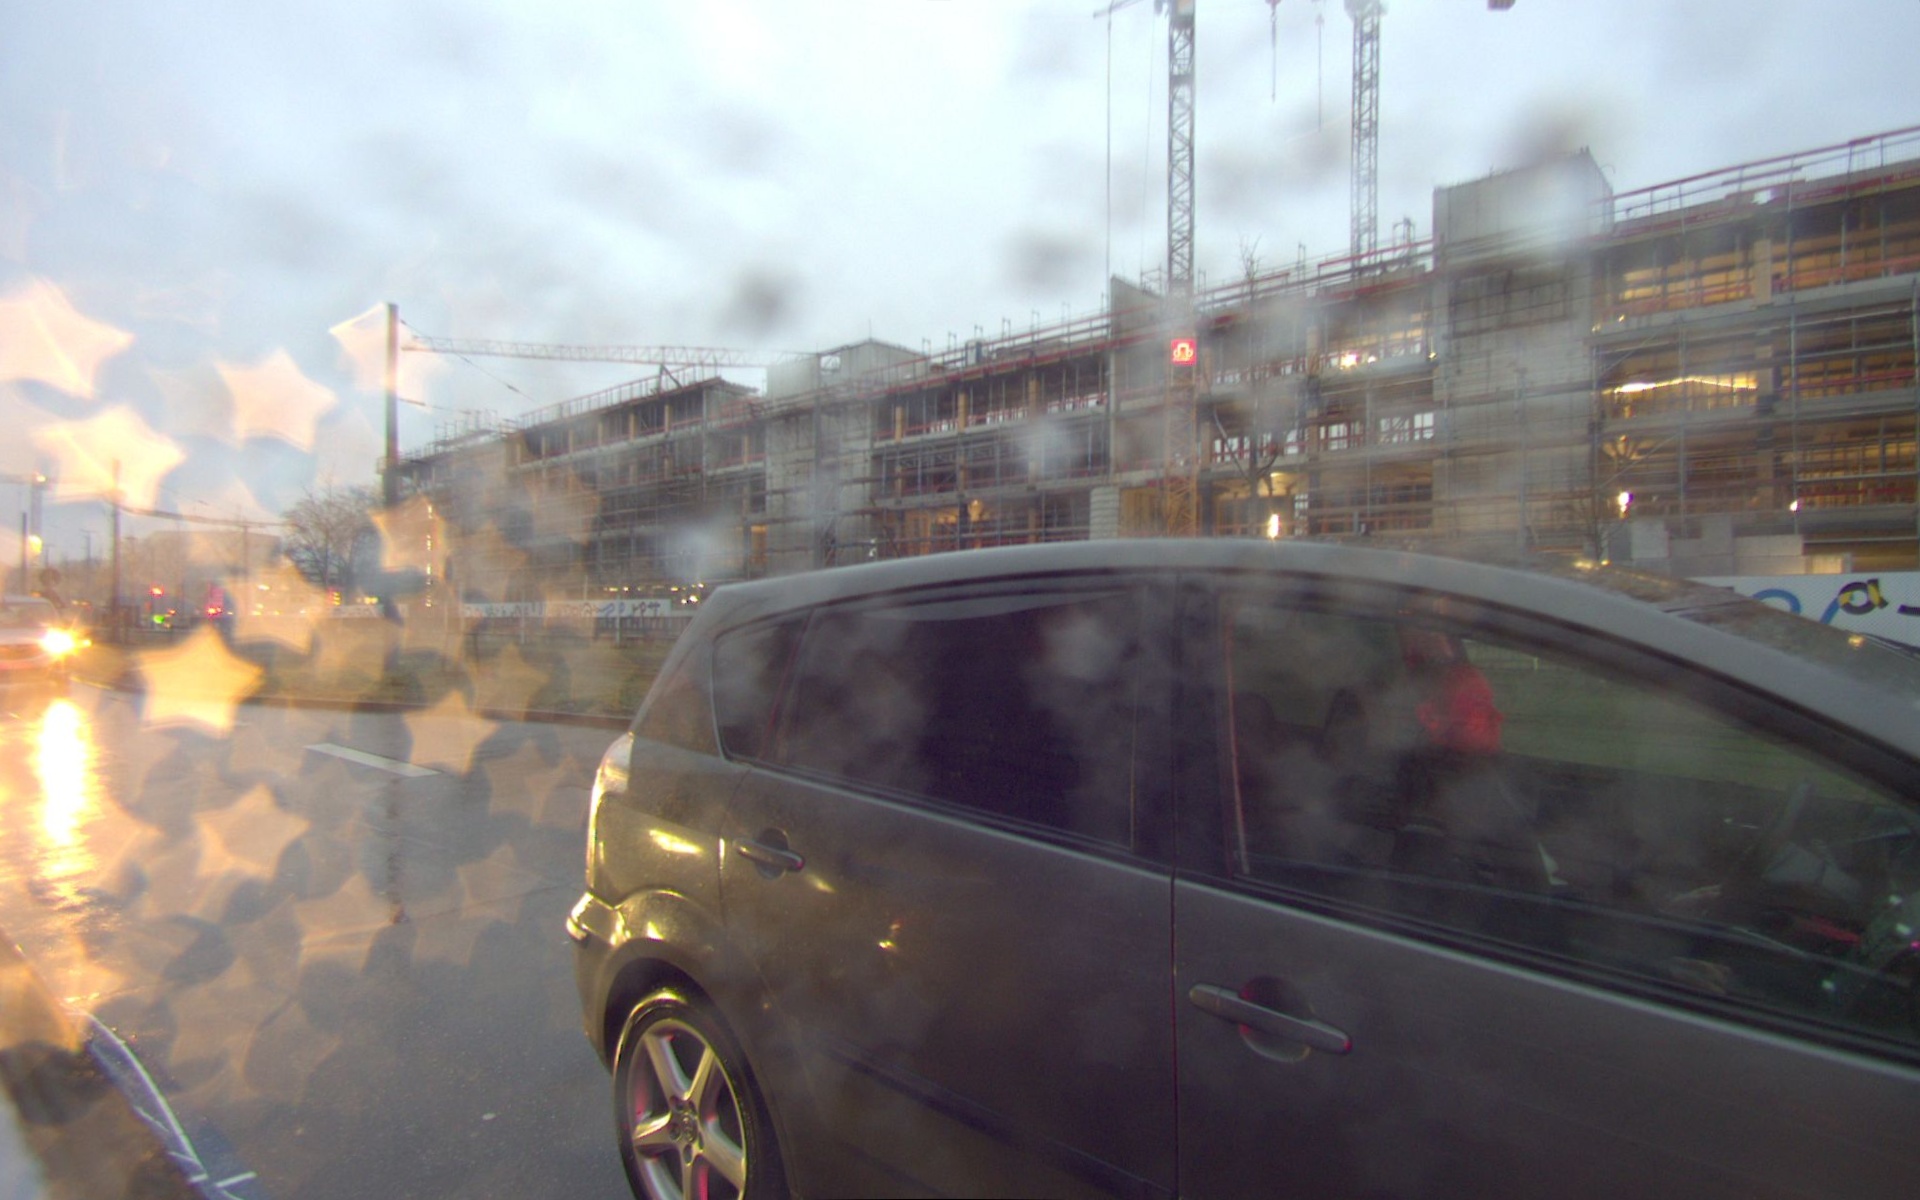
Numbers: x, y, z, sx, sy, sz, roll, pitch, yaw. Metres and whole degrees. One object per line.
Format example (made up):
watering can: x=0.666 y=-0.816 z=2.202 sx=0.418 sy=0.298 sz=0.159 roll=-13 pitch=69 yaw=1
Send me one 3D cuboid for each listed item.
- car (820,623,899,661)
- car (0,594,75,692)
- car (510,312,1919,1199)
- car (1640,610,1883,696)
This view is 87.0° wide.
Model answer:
car: x=-5.164 y=2.129 z=51.828 sx=1.970 sy=1.785 sz=4.003 roll=-1 pitch=0 yaw=-44
car: x=-18.501 y=0.790 z=19.619 sx=1.832 sy=1.746 sz=4.003 roll=-1 pitch=0 yaw=-44
car: x=1.020 y=0.554 z=1.835 sx=3.996 sy=1.606 sz=1.742 roll=-1 pitch=0 yaw=39
car: x=17.825 y=1.096 z=22.611 sx=4.085 sy=1.700 sz=1.931 roll=-1 pitch=0 yaw=44
